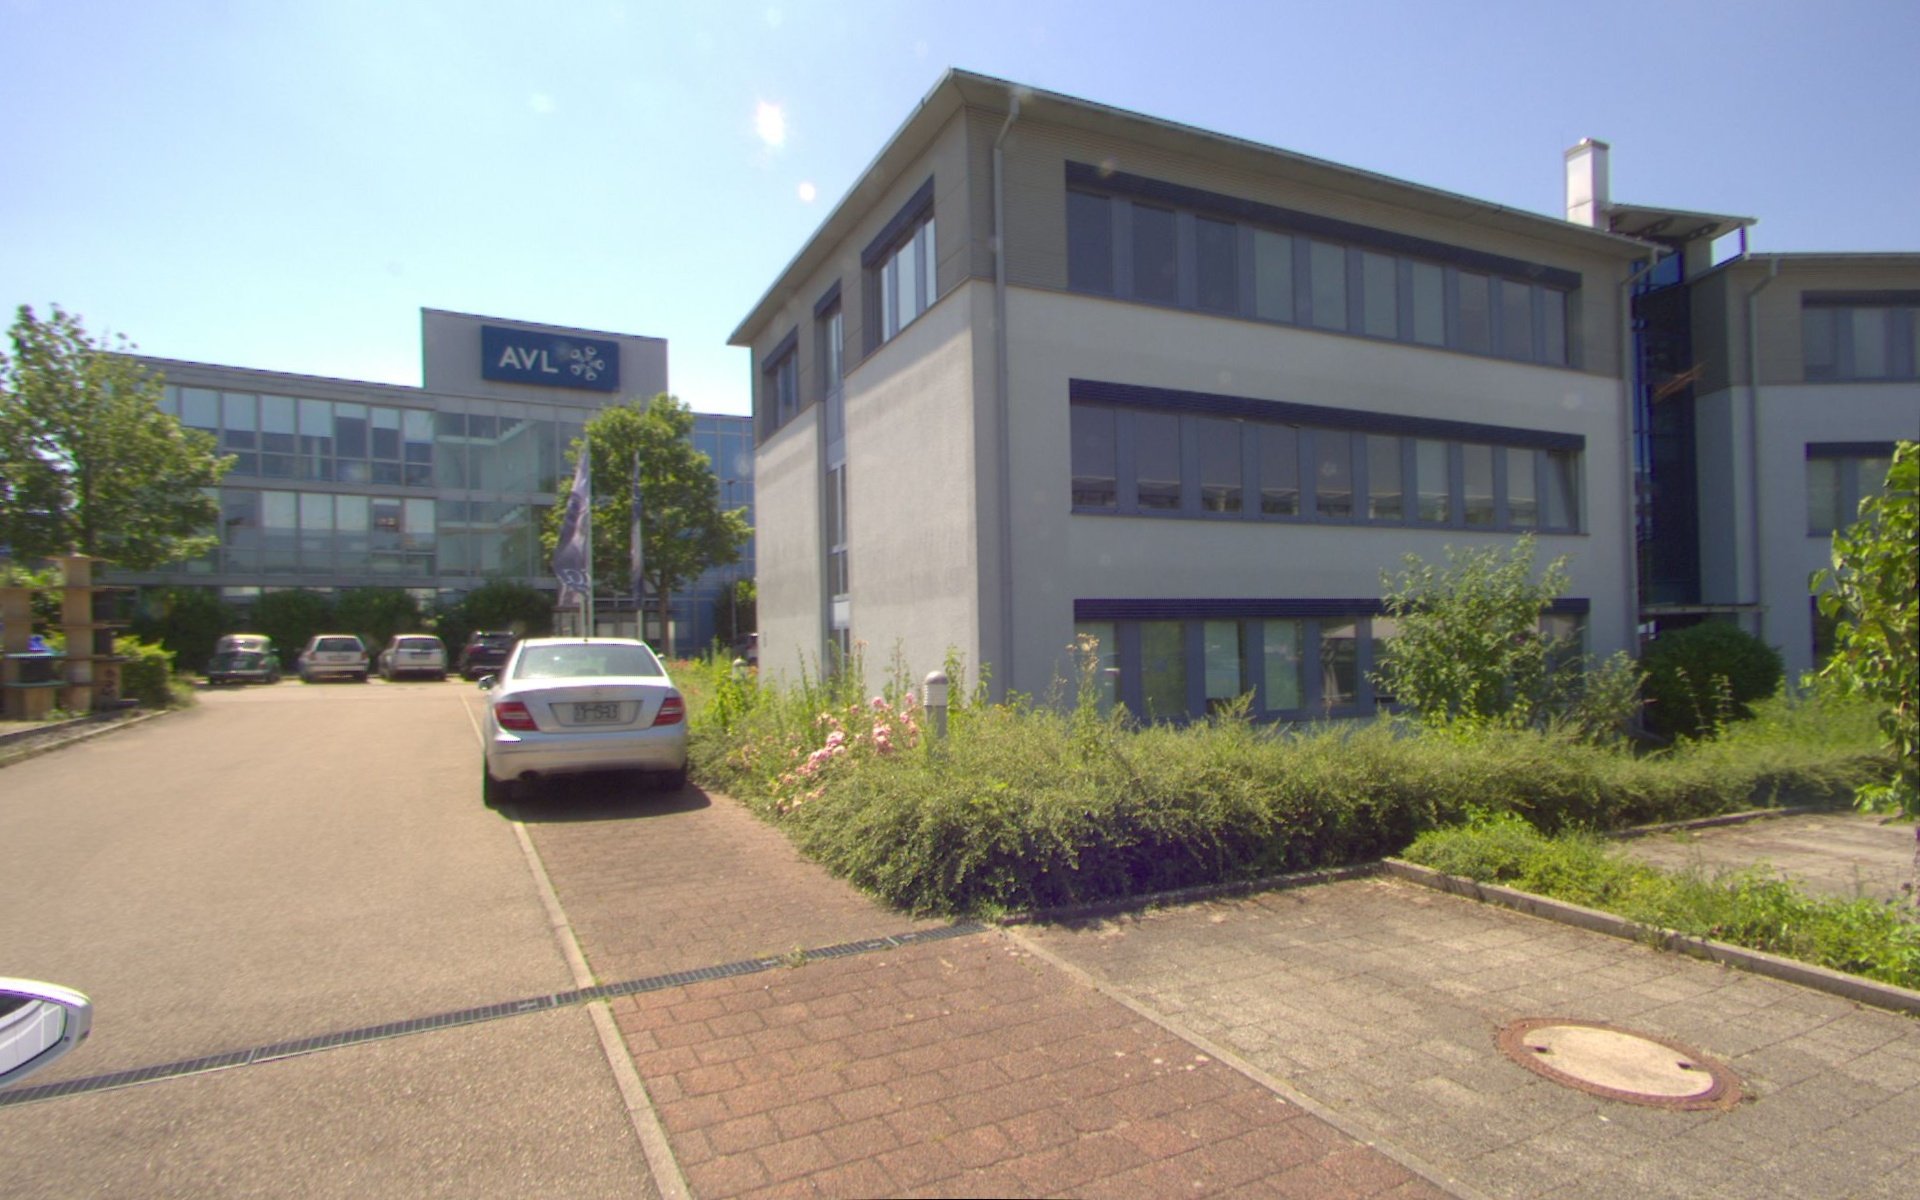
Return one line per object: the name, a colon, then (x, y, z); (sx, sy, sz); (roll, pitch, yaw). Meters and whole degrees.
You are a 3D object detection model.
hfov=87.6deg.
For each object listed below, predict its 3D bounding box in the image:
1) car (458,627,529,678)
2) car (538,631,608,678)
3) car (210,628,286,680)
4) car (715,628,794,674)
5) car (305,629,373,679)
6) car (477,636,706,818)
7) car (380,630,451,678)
car: (-16.118, 1.758, 34.518); (1.906, 1.631, 3.966); (2, -2, -29)
car: (-13.892, 1.897, 35.782); (1.750, 1.501, 4.237); (0, -1, -29)
car: (-21.769, 1.620, 30.709); (1.525, 1.467, 3.635); (2, -2, -30)
car: (-8.074, 1.928, 38.987); (1.799, 1.641, 4.318); (0, -1, -29)
car: (-19.923, 1.696, 32.048); (1.715, 1.467, 3.631); (2, -2, -34)
car: (-3.907, 1.092, 10.246); (1.777, 1.415, 4.405); (0, -2, -25)
car: (-18.246, 1.761, 33.504); (1.748, 1.467, 3.631); (2, -2, -34)
